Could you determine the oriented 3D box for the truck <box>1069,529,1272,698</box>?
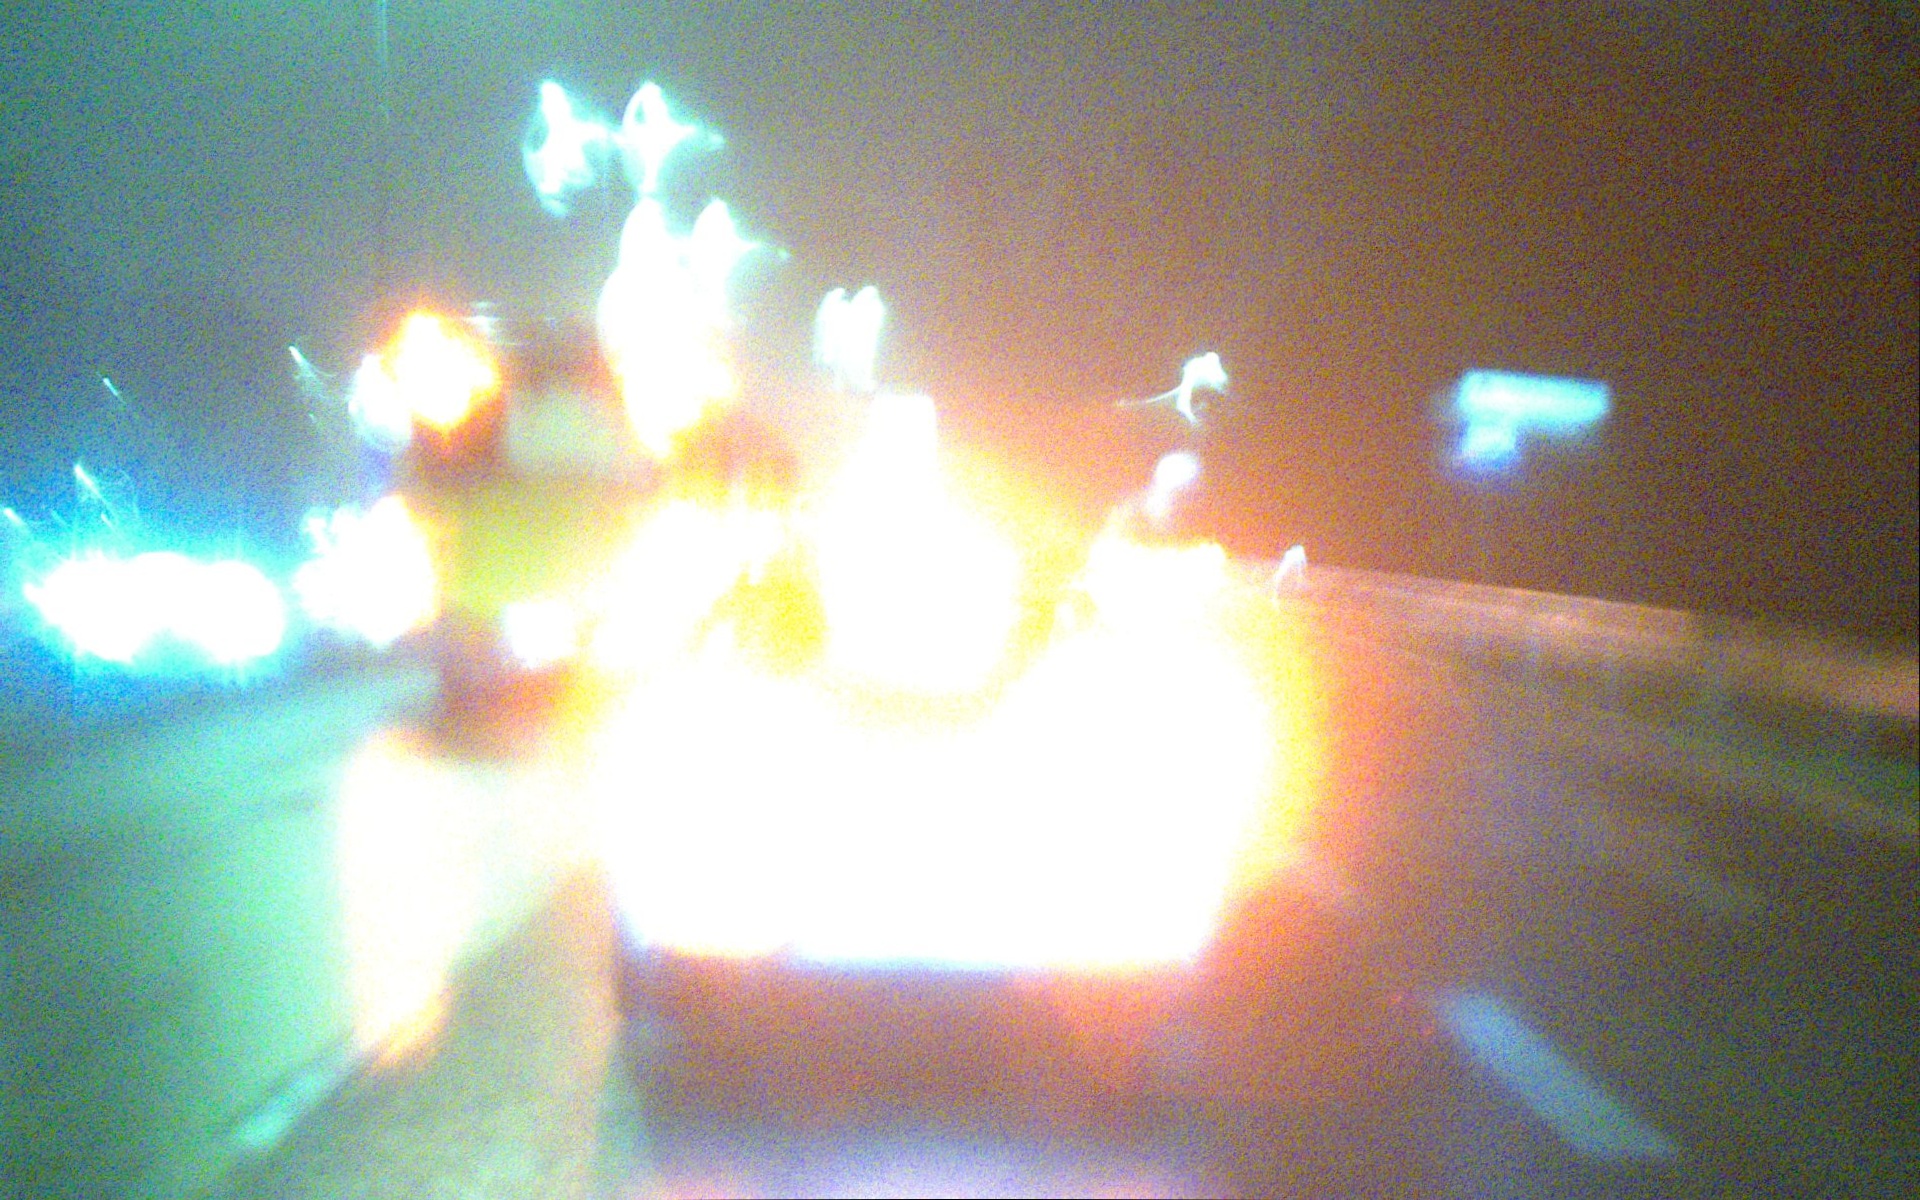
[{"bbox_3d":[3.567,0.222,56.972,3.070,2.520,7.165,2,0,5],"label":"truck"}]

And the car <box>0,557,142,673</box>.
[{"bbox_3d":[-14.779,0.218,55.688,1.993,1.768,4.705,2,0,-2],"label":"car"}]

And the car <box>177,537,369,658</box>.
[{"bbox_3d":[-10.872,-0.041,54.741,2.165,1.768,4.705,2,0,-2],"label":"car"}]

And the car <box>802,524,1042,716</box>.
[{"bbox_3d":[-0.287,0.128,28.335,1.822,1.456,3.716,1,1,0],"label":"car"}]

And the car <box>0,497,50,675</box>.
[{"bbox_3d":[-10.500,-0.169,33.672,1.993,1.768,4.705,2,0,-2],"label":"car"}]

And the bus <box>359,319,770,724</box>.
[{"bbox_3d":[-3.380,-0.730,31.779,2.743,3.112,9.202,2,1,-1],"label":"bus"}]

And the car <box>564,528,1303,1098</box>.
[{"bbox_3d":[-0.053,0.542,10.990,1.944,1.486,3.716,1,1,1],"label":"car"}]
